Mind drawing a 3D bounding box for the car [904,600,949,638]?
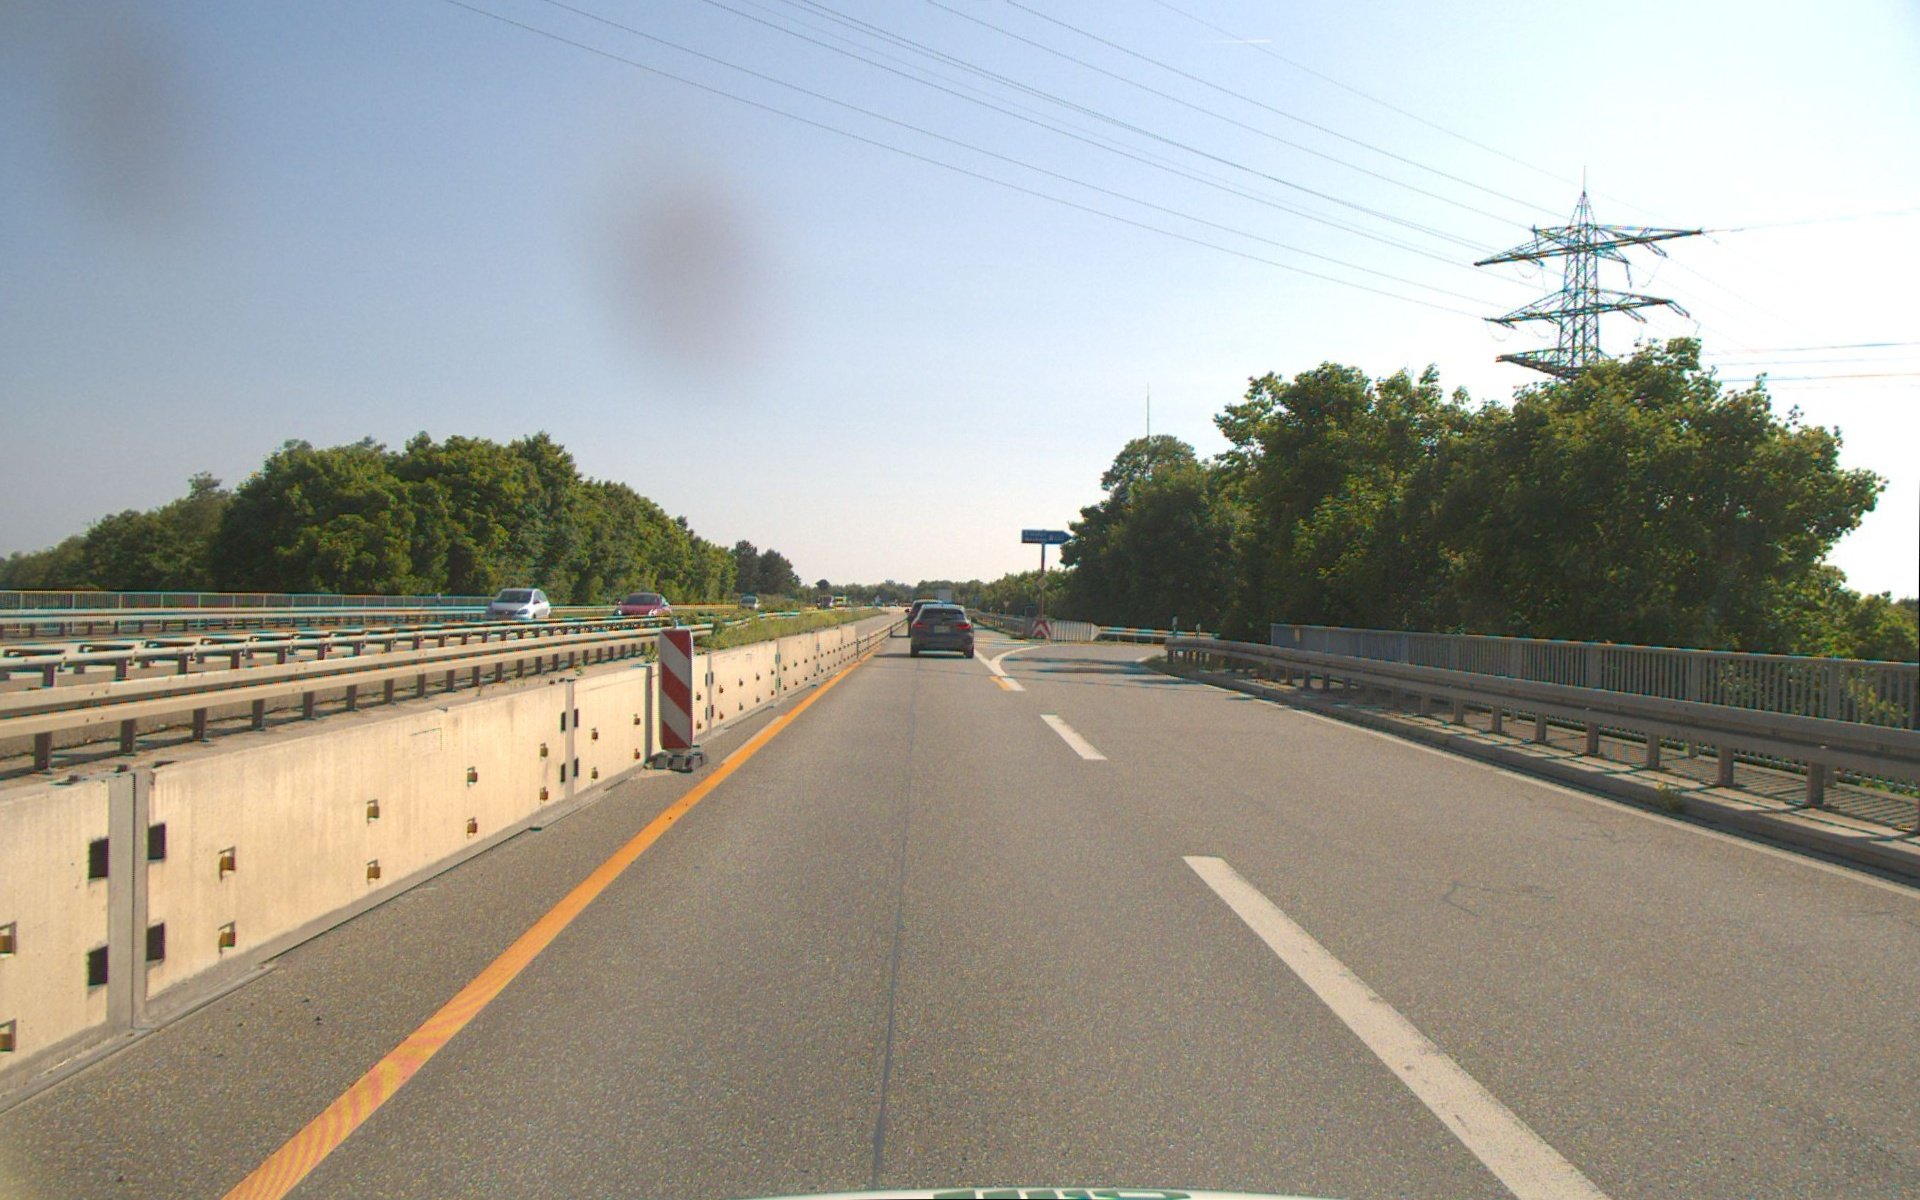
[{"bbox_3d":[-1.457,0.822,72.972,1.953,1.594,3.999,0,0,-1],"label":"car"}]

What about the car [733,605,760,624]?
[{"bbox_3d":[-17.690,1.204,137.289,1.727,1.611,4.421,0,0,-1],"label":"car"}]

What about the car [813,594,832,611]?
[{"bbox_3d":[-16.921,0.303,203.937,1.953,2.070,5.167,1,0,-1],"label":"car"}]

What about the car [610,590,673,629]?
[{"bbox_3d":[-12.004,0.357,62.490,1.680,1.421,4.219,1,0,-2],"label":"car"}]

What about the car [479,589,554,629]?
[{"bbox_3d":[-16.287,0.337,60.864,1.741,1.417,4.124,0,0,-1],"label":"car"}]

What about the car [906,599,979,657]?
[{"bbox_3d":[-0.532,0.758,46.519,1.882,1.520,3.998,2,0,-3],"label":"car"}]
